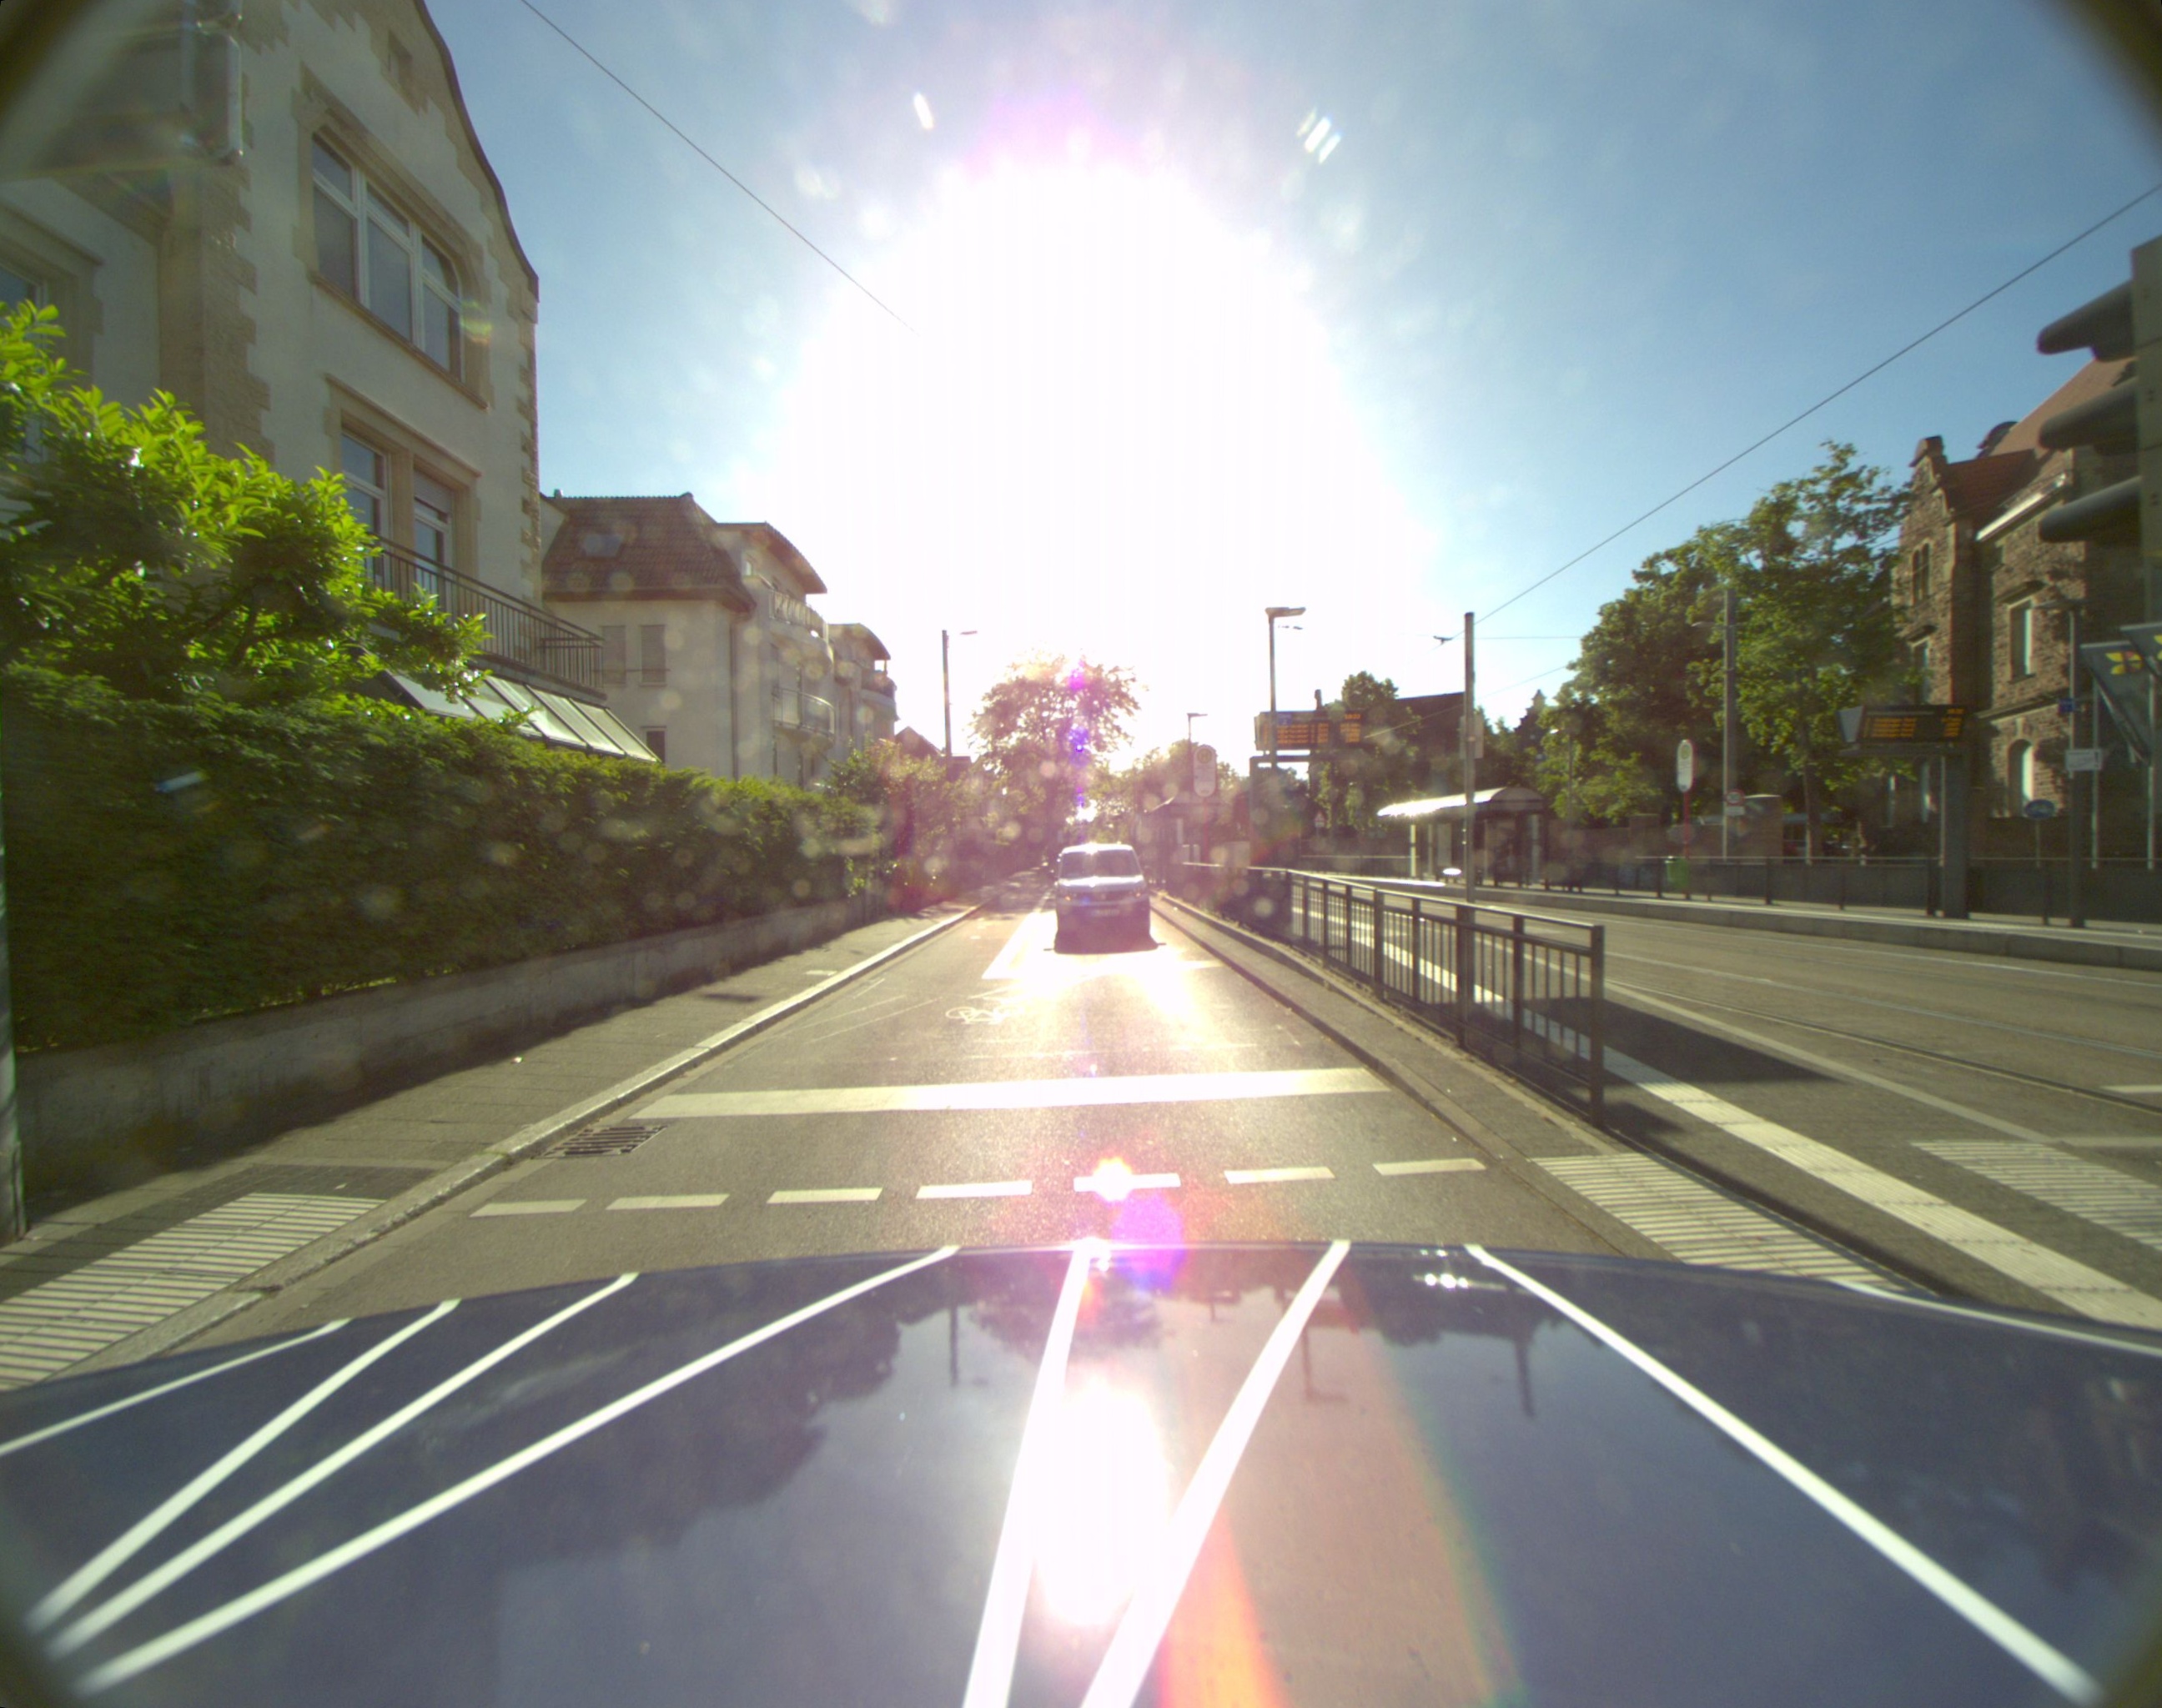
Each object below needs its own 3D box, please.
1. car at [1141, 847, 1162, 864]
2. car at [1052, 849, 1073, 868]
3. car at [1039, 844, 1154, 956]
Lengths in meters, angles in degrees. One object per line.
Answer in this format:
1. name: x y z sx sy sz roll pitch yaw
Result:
1. car: 7.005 0.137 76.085 1.911 1.667 4.358 -2 1 4
2. car: -1.800 0.382 75.214 1.998 1.733 4.170 -2 1 0
3. car: 0.285 0.752 15.034 1.832 1.788 4.333 -3 1 1
